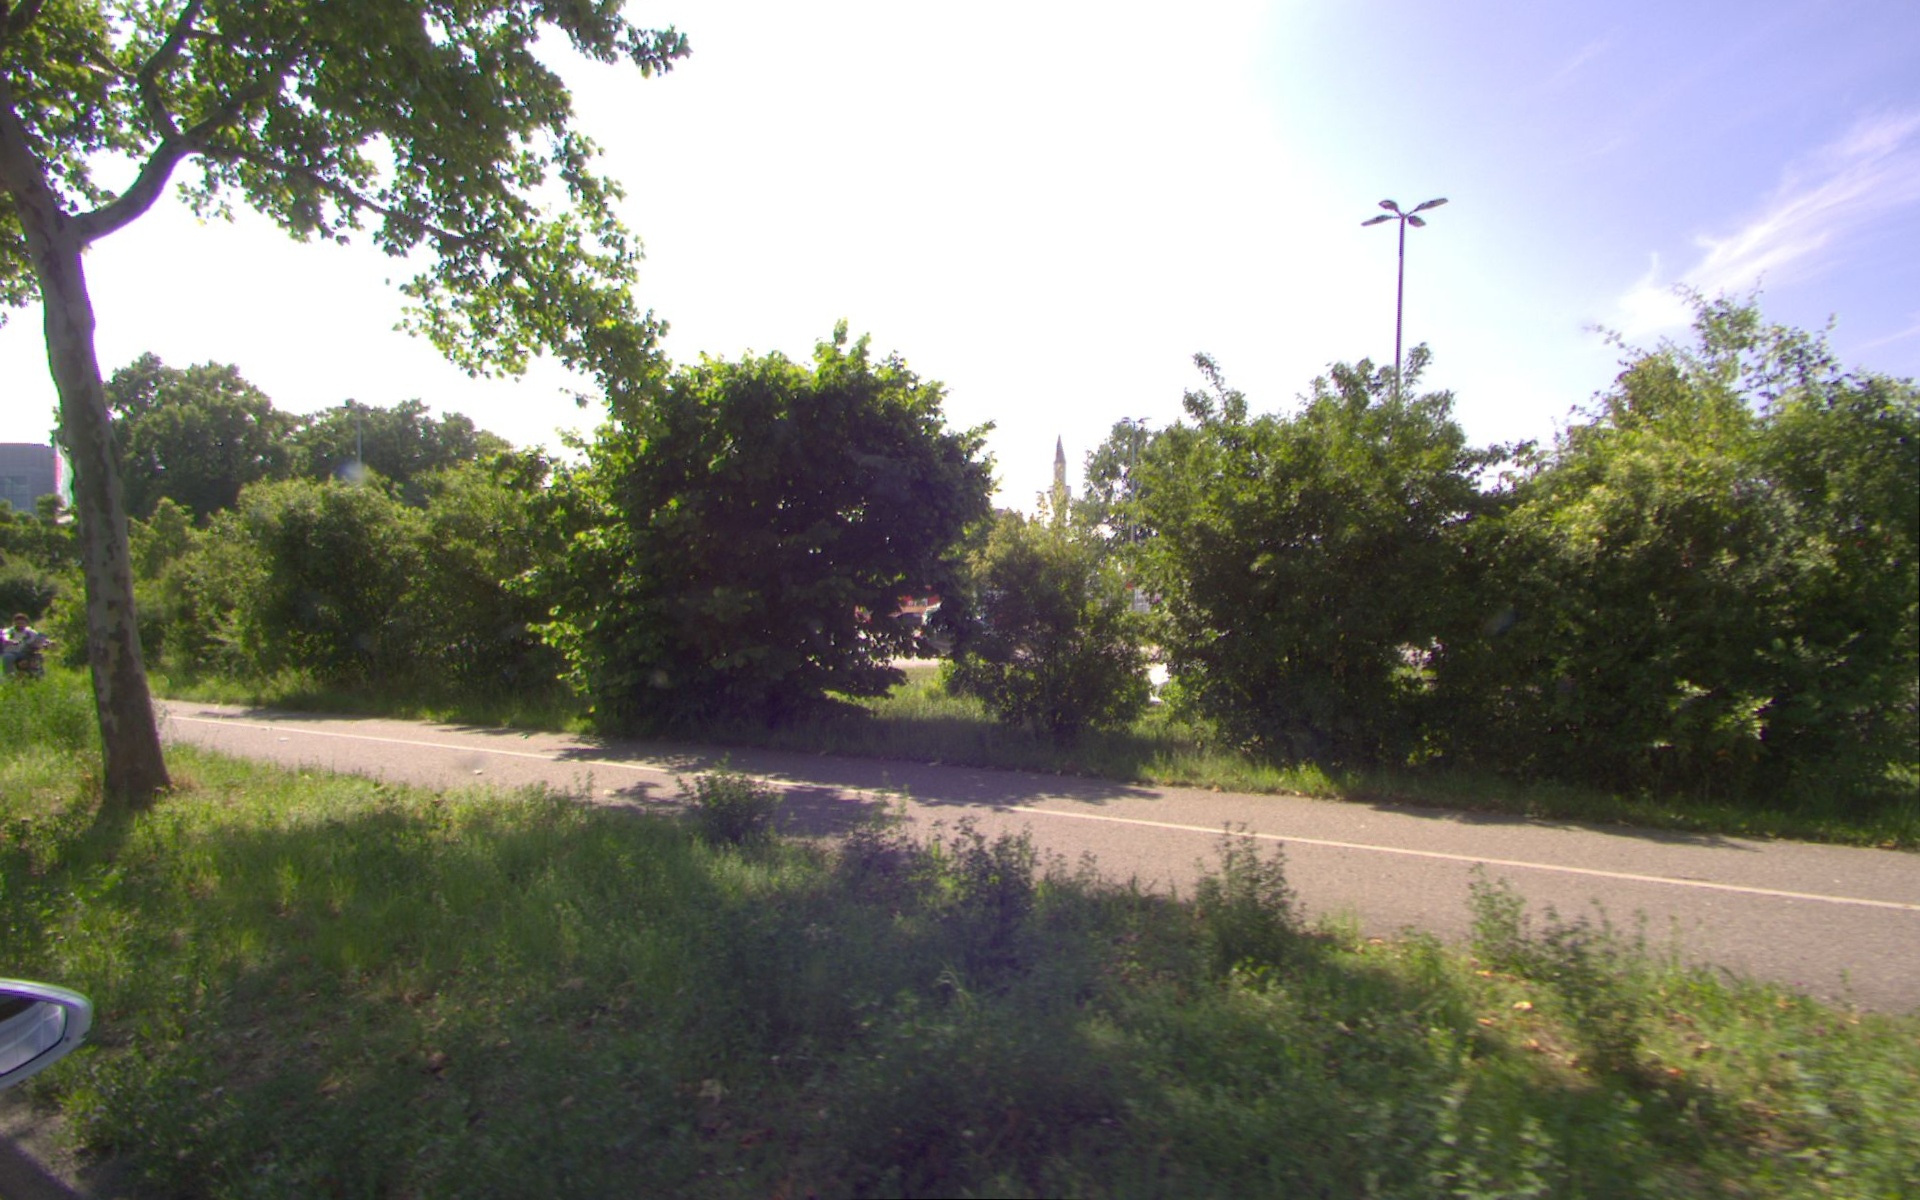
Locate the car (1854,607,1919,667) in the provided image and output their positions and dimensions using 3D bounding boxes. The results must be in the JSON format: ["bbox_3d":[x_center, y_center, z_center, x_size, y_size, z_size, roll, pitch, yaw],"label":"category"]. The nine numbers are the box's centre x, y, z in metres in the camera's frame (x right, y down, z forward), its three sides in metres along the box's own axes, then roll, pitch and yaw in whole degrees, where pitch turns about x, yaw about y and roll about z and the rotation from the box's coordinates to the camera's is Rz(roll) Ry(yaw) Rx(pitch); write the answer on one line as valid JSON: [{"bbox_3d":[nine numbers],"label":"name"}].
[{"bbox_3d":[48.189,1.850,50.059,5.182,2.889,2.306,1,-1,-6],"label":"car"}]

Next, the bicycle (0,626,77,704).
[{"bbox_3d":[-16.497,1.115,17.743,2.066,1.315,0.721,-1,-1,32],"label":"bicycle"}]

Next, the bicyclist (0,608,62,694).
[{"bbox_3d":[-16.710,0.900,17.904,0.995,1.496,0.703,-1,-1,32],"label":"bicyclist"}]
